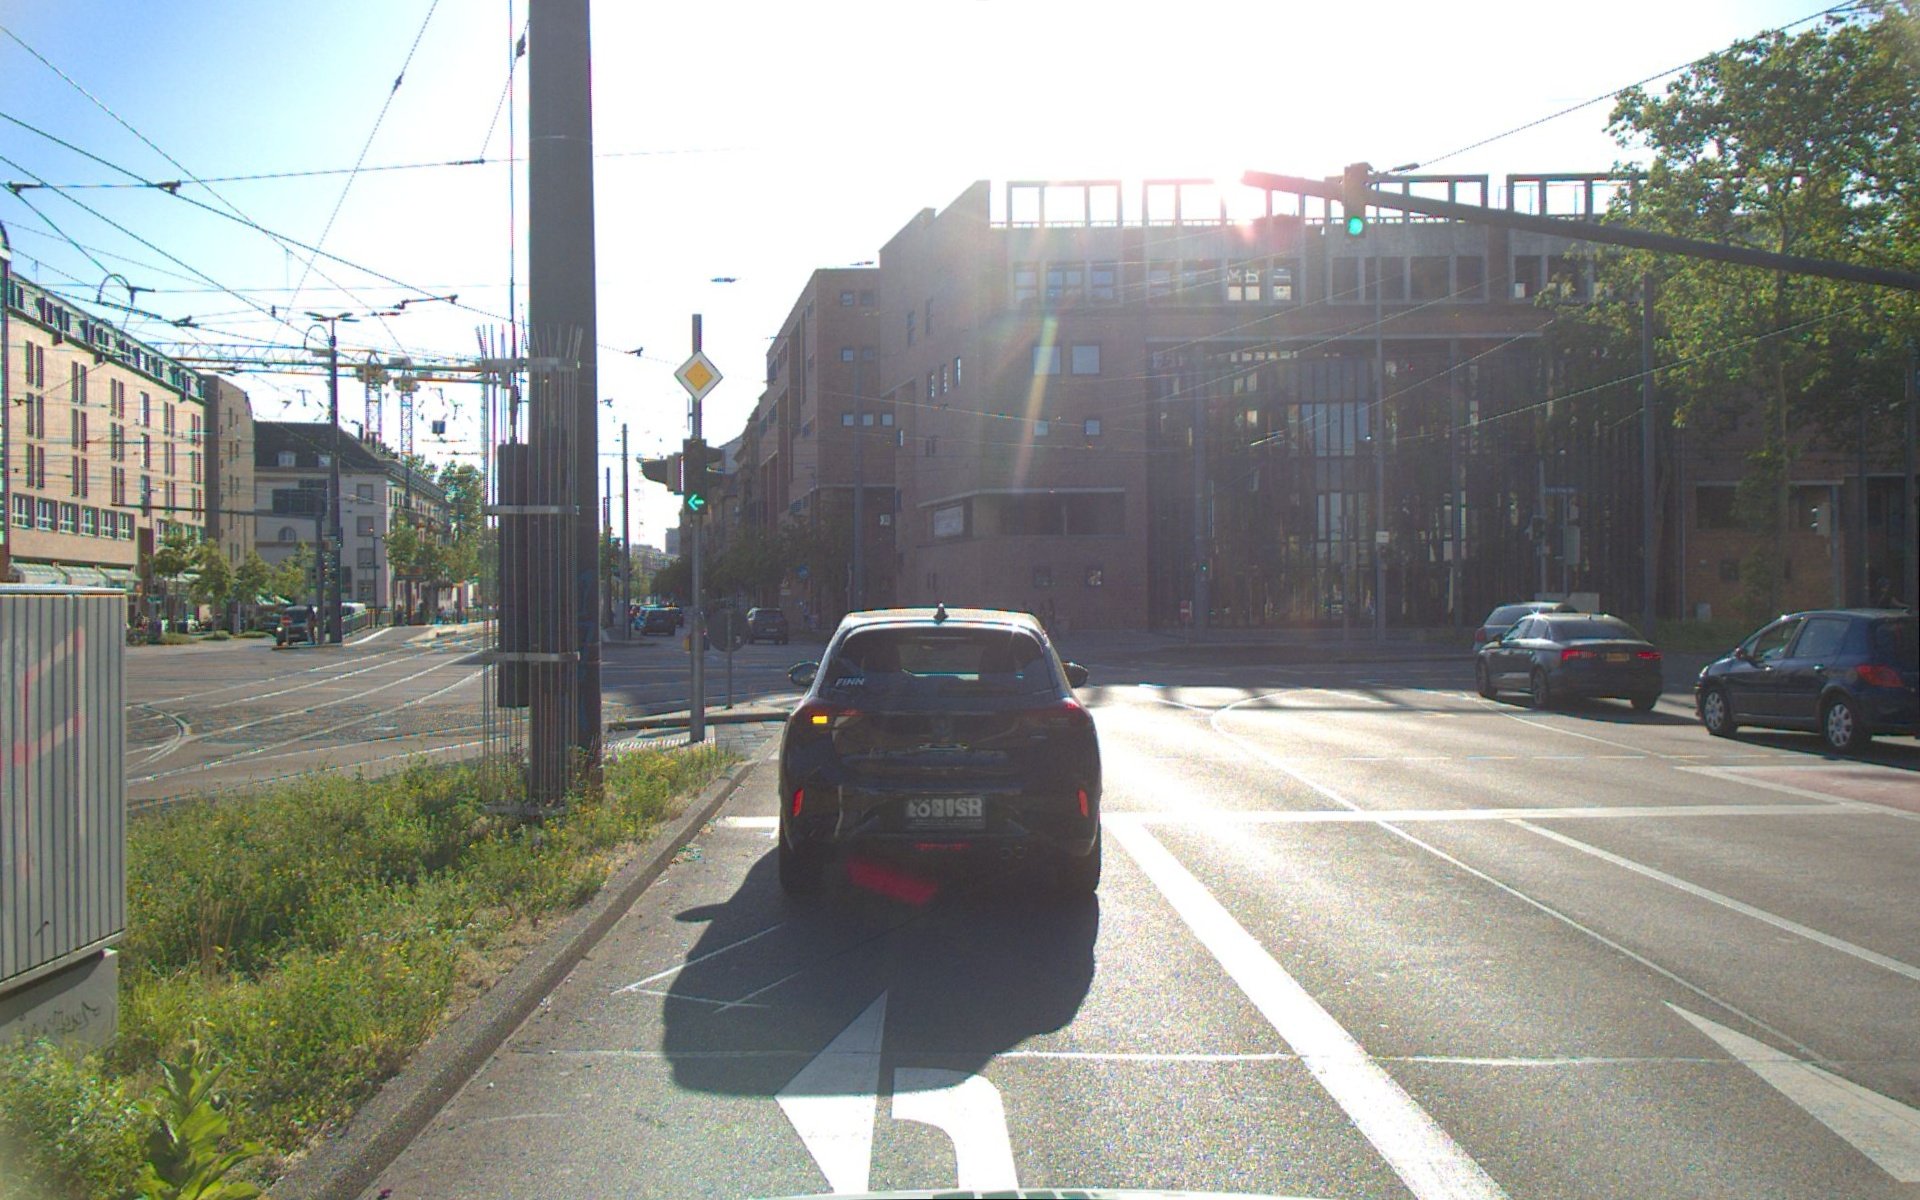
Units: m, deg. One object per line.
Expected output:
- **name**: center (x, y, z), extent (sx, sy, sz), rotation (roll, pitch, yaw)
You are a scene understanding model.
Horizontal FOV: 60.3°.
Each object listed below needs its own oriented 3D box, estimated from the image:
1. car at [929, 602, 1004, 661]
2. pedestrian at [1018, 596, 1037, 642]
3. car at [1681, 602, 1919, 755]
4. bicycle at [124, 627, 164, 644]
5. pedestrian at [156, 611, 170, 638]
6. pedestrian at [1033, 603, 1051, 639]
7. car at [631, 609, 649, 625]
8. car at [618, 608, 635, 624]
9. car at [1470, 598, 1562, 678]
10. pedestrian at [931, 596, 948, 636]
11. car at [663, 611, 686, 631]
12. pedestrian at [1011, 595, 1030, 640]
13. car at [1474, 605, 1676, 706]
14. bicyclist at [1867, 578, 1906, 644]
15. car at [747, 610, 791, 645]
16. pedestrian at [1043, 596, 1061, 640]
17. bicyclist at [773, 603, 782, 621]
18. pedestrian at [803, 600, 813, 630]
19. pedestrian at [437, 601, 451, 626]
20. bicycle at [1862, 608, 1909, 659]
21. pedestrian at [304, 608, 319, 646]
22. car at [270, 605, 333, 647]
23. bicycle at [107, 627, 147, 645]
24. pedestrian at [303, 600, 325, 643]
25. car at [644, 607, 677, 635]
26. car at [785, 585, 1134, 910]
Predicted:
- **car**: center (0.139, 0.794, 43.500), extent (1.530, 1.481, 3.426), rotation (-1, 0, -7)
- **pedestrian**: center (2.733, 0.766, 67.179), extent (0.563, 1.817, 0.546), rotation (-1, 0, -20)
- **car**: center (9.929, 0.784, 18.512), extent (1.824, 1.500, 3.975), rotation (-1, 0, -3)
- **bicycle**: center (-46.253, 2.007, 93.714), extent (1.992, 0.937, 0.483), rotation (-1, 0, -2)
- **pedestrian**: center (-54.699, 1.680, 113.555), extent (0.703, 1.795, 0.564), rotation (-2, 0, -9)
- **pedestrian**: center (3.478, 0.875, 69.924), extent (0.541, 1.503, 0.568), rotation (-1, 1, -29)
- **car**: center (-29.702, 1.558, 153.347), extent (1.489, 1.479, 3.572), rotation (-1, 0, -13)
- **car**: center (-33.808, 1.611, 167.581), extent (1.489, 1.479, 3.572), rotation (-1, 0, -13)
- **car**: center (11.319, 0.737, 33.579), extent (1.660, 1.500, 3.983), rotation (-1, 0, 20)
- **pedestrian**: center (-0.943, 0.722, 76.356), extent (0.629, 1.817, 0.686), rotation (-1, 0, -14)
- **car**: center (-22.255, 1.646, 128.857), extent (1.690, 1.479, 3.687), rotation (-1, 0, -11)
- **pedestrian**: center (2.480, 0.732, 67.942), extent (0.563, 1.817, 0.546), rotation (-1, 0, -20)
- **car**: center (9.488, 0.816, 25.859), extent (1.660, 1.465, 4.018), rotation (0, -1, 0)
- **bicyclist**: center (20.906, 0.238, 37.322), extent (0.653, 1.432, 0.812), rotation (1, 2, 37)
- **car**: center (-8.531, 1.197, 73.696), extent (1.641, 1.479, 3.687), rotation (-1, 0, -11)
- **pedestrian**: center (3.829, 0.752, 68.706), extent (0.563, 1.817, 0.546), rotation (-1, 0, -20)
- **bicyclist**: center (-14.089, 0.899, 127.882), extent (0.634, 1.363, 0.651), rotation (-1, 0, -10)
- **pedestrian**: center (-9.261, 0.911, 100.638), extent (0.537, 1.817, 0.572), rotation (-1, 2, -9)
- **pedestrian**: center (-35.657, 0.935, 114.229), extent (0.849, 1.699, 0.779), rotation (0, 1, -22)
- **bicycle**: center (20.844, 0.736, 37.228), extent (0.653, 1.036, 2.176), rotation (1, 2, 37)
- **pedestrian**: center (-27.699, 1.162, 70.663), extent (0.573, 1.604, 0.641), rotation (-1, 0, -25)
- **car**: center (-31.035, 1.200, 78.029), extent (1.805, 1.868, 4.099), rotation (-2, 0, -9)
- **bicycle**: center (-46.594, 2.019, 92.529), extent (1.992, 0.937, 0.483), rotation (-1, 0, -2)
- **pedestrian**: center (-26.812, 0.897, 68.654), extent (0.708, 1.757, 0.593), rotation (-1, 0, -11)
- **car**: center (-16.674, 1.145, 92.066), extent (1.690, 1.479, 3.687), rotation (-1, 0, -11)
- **car**: center (-0.027, 0.700, 9.702), extent (1.638, 1.528, 3.690), rotation (1, 0, -1)
